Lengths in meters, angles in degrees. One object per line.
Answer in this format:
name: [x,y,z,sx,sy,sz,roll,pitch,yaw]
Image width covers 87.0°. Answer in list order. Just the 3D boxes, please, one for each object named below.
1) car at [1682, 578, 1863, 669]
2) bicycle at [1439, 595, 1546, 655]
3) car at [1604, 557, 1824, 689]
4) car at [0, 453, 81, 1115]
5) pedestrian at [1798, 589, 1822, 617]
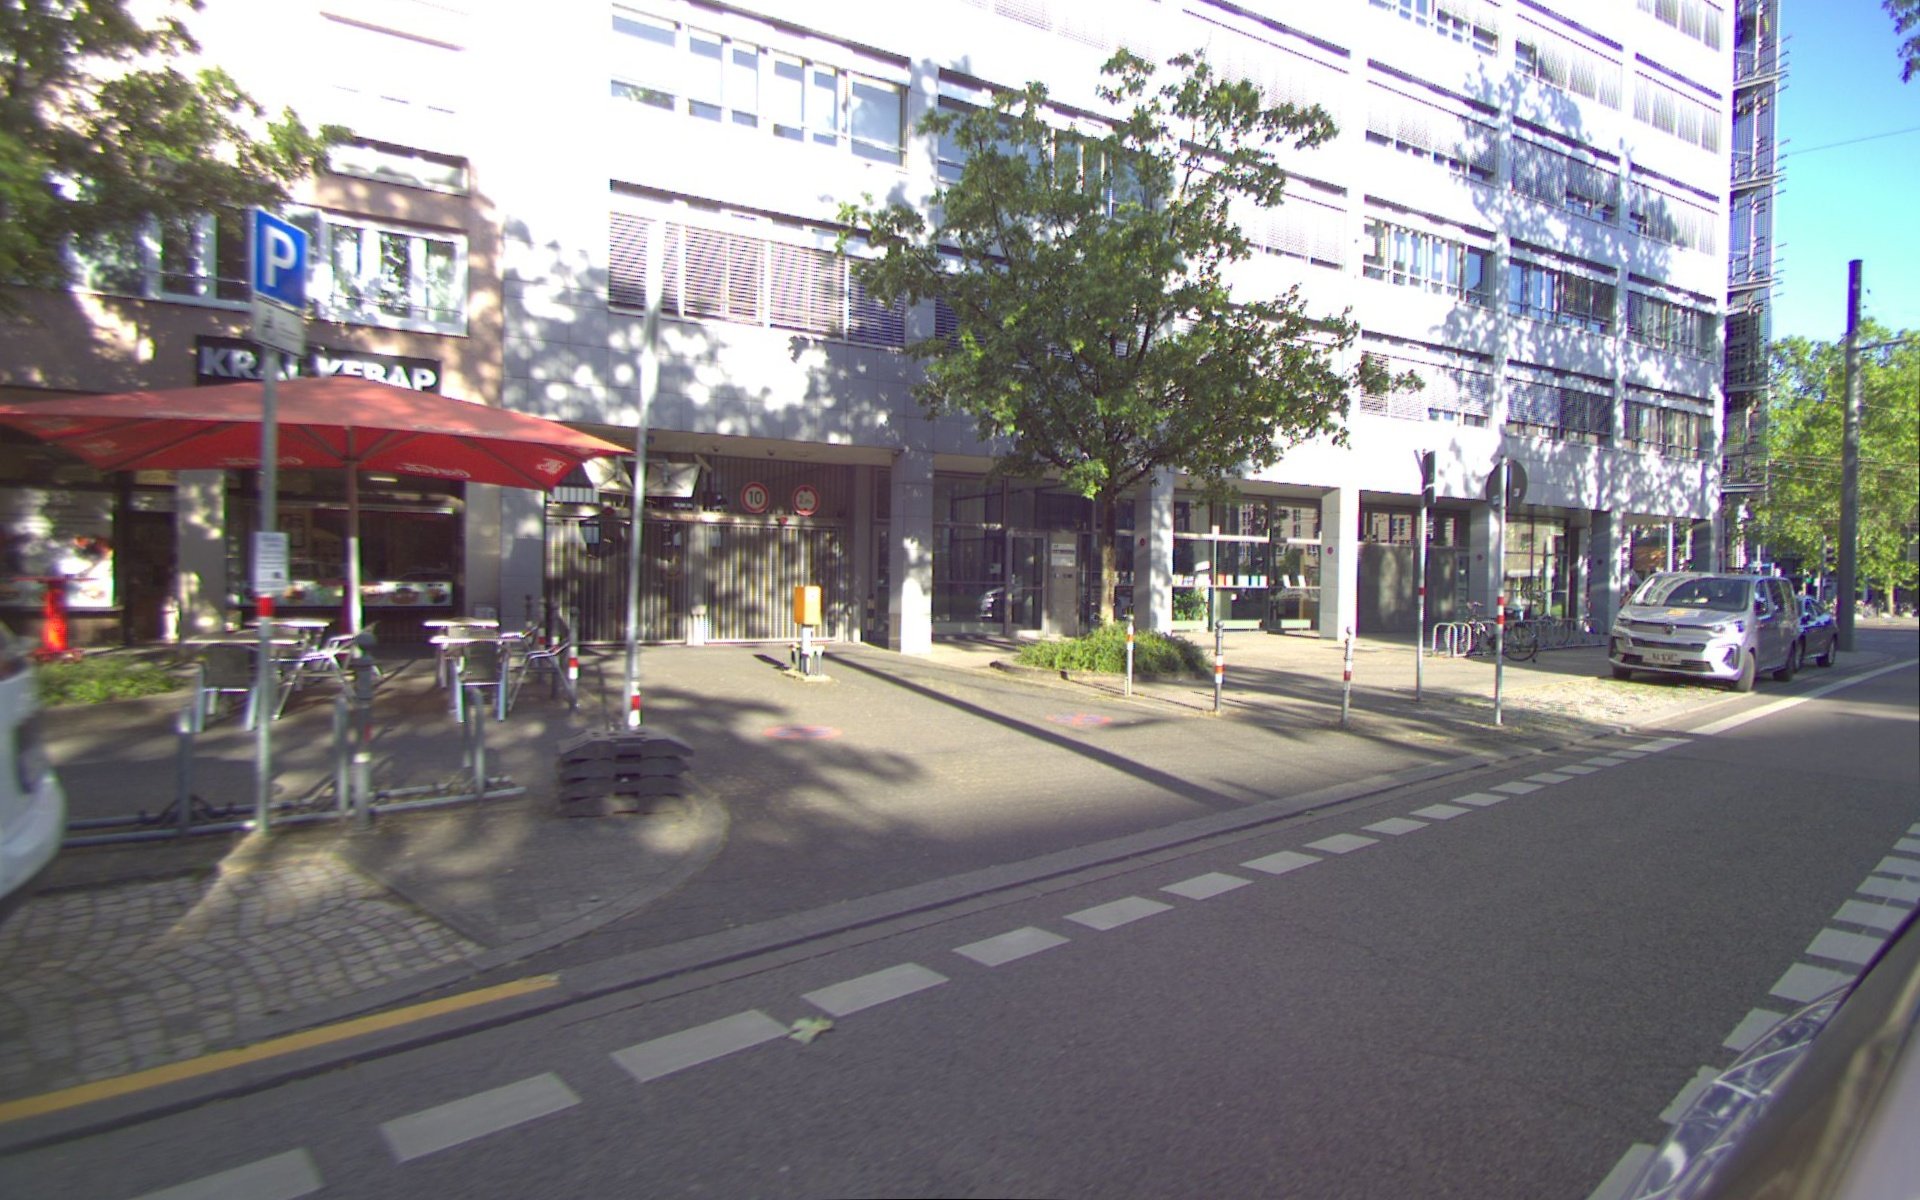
car: [17.106,0.451,21.258,3.941,1.661,1.924,1,3,-36]
bicycle: [10.623,0.474,20.233,0.655,1.120,1.776,1,1,-41]
car: [13.087,0.318,17.450,4.774,1.928,1.922,0,3,-40]
car: [-4.715,0.432,2.014,4.379,1.745,1.803,0,3,-39]
pedestrian: [50.562,0.161,60.233,0.599,1.639,0.983,1,1,-40]
